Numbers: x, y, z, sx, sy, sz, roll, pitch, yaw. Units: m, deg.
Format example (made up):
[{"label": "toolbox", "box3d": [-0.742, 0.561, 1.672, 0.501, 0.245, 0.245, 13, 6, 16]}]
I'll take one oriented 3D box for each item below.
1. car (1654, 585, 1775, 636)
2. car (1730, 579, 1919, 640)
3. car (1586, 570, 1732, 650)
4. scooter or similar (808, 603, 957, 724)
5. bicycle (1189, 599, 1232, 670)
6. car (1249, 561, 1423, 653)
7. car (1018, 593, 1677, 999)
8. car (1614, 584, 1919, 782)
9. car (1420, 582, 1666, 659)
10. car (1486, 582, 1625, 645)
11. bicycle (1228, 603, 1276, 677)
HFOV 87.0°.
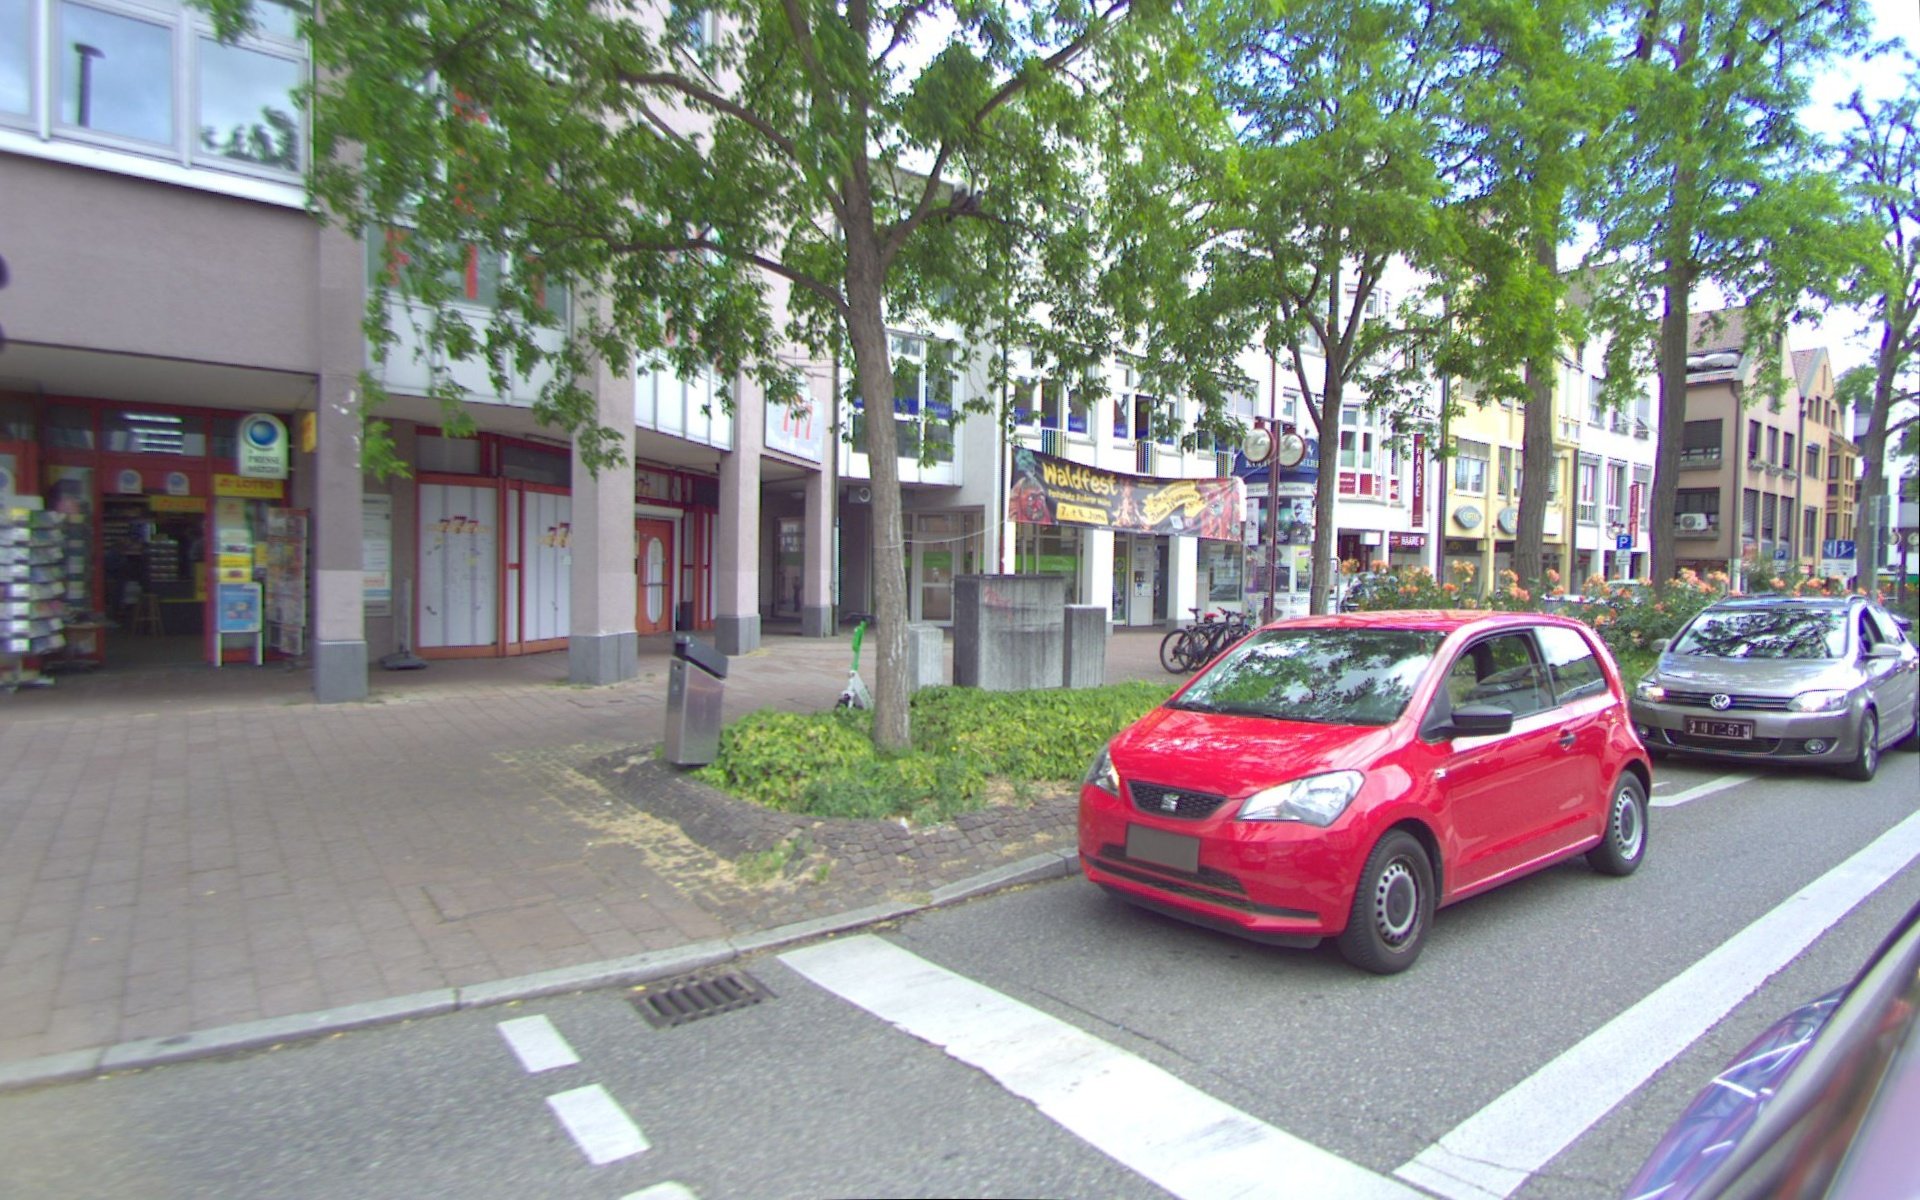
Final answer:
[{"label": "car", "box3d": [22.689, 0.270, 30.383, 4.669, 1.325, 1.843, -1, 3, -40]}, {"label": "car", "box3d": [28.046, 0.263, 32.750, 4.741, 1.699, 1.968, 4, 2, 45]}, {"label": "car", "box3d": [18.646, 0.181, 26.917, 4.670, 1.899, 1.998, -1, 3, -40]}, {"label": "scooter or similar", "box3d": [-0.768, 0.614, 10.617, 0.468, 1.101, 1.864, 2, 2, 35]}, {"label": "bicycle", "box3d": [4.065, 0.537, 16.498, 0.399, 1.061, 1.568, 1, 1, 4]}, {"label": "car", "box3d": [8.378, 0.107, 22.404, 4.185, 1.826, 1.738, 0, 2, -40]}, {"label": "car", "box3d": [2.200, 0.707, 5.401, 3.574, 1.467, 1.631, 0, 0, -37]}, {"label": "car", "box3d": [8.119, 0.653, 9.884, 3.928, 1.549, 1.801, 0, 0, -39]}, {"label": "car", "box3d": [13.418, 0.395, 23.573, 1.708, 1.471, 4.652, 0, 2, -37]}, {"label": "car", "box3d": [17.120, 0.312, 29.010, 4.671, 1.566, 1.998, -1, 3, -41]}, {"label": "bicycle", "box3d": [4.623, 0.608, 16.105, 0.399, 1.061, 1.568, 1, 1, 4]}]
